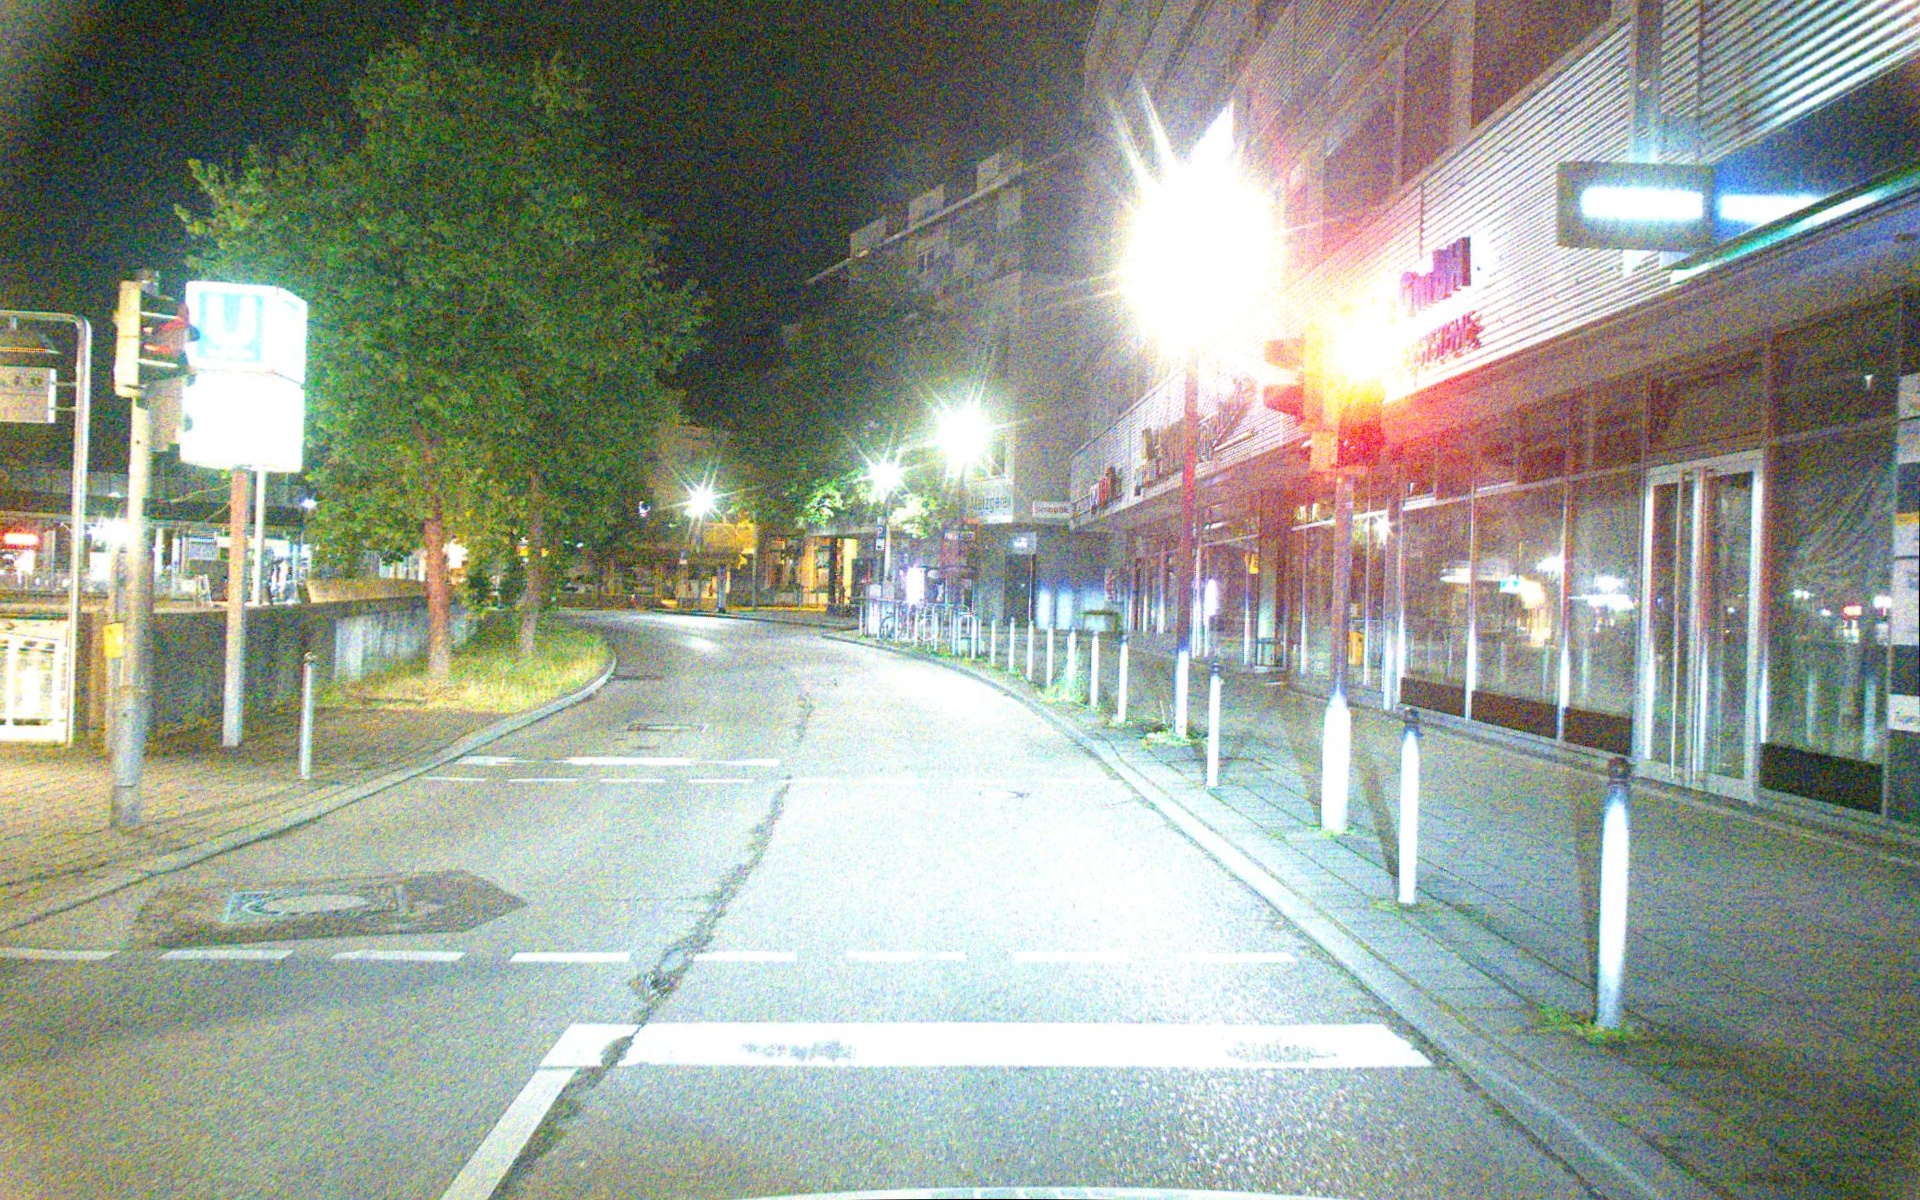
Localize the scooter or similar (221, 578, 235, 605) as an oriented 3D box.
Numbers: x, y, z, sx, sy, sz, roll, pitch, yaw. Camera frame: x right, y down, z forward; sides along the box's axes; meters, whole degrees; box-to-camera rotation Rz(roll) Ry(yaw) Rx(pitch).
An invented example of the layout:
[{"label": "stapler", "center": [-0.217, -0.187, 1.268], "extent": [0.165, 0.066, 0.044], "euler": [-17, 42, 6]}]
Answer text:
[{"label": "scooter or similar", "center": [-36.086, -0.418, 81.547], "extent": [0.426, 1.307, 1.132], "euler": [0, 2, -35]}]

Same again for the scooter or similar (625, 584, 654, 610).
[{"label": "scooter or similar", "center": [-15.884, -0.156, 82.066], "extent": [1.232, 1.248, 0.593], "euler": [3, 0, -29]}]

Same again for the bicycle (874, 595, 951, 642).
[{"label": "bicycle", "center": [-1.142, 0.439, 39.894], "extent": [1.728, 1.081, 0.650], "euler": [1, 1, -27]}]
